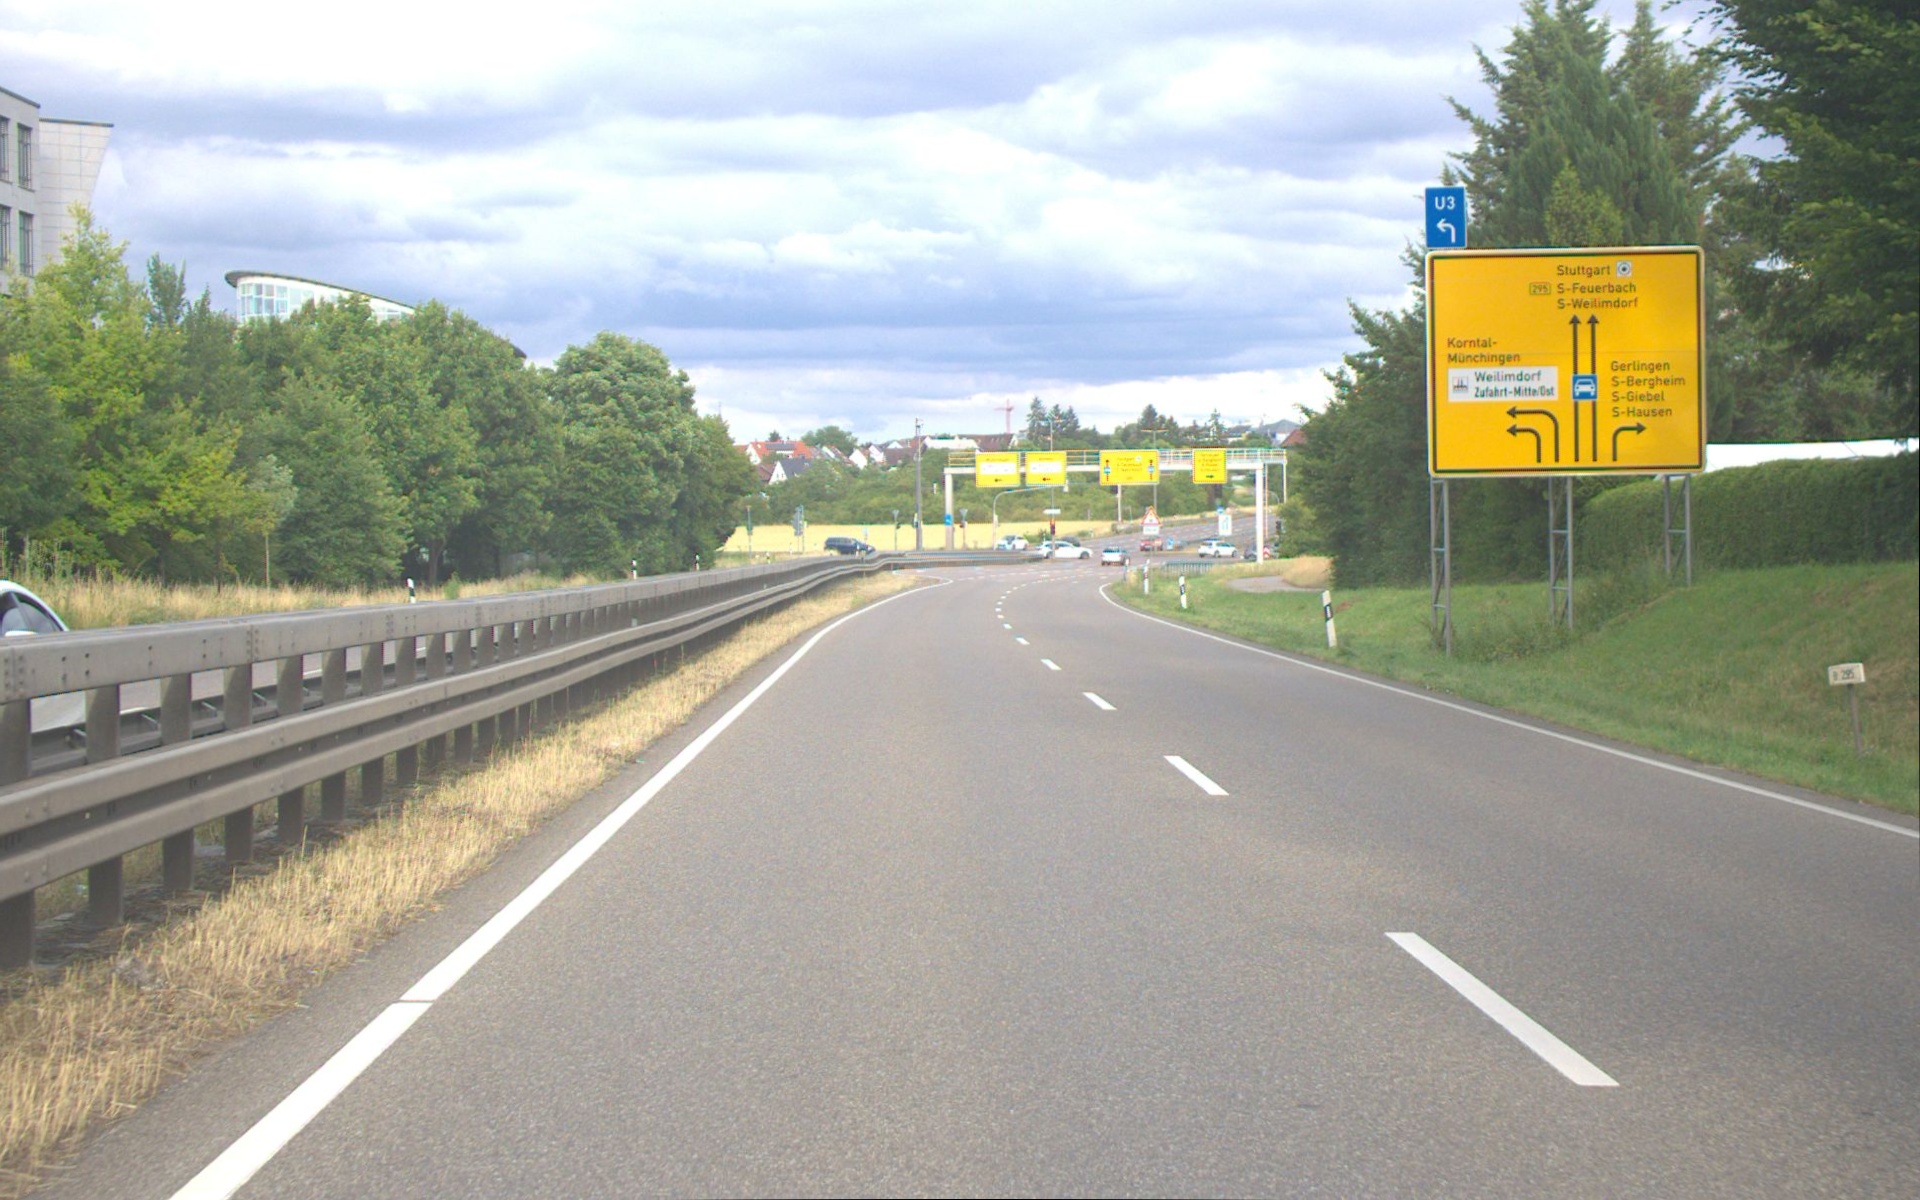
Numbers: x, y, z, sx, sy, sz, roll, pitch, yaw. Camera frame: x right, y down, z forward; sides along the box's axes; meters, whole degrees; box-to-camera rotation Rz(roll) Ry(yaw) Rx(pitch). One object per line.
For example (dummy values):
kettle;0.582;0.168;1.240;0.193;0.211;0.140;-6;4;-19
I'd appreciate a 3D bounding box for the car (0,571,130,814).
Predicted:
car;-6.555;0.564;21.190;1.834;1.374;4.567;-2;1;-1
